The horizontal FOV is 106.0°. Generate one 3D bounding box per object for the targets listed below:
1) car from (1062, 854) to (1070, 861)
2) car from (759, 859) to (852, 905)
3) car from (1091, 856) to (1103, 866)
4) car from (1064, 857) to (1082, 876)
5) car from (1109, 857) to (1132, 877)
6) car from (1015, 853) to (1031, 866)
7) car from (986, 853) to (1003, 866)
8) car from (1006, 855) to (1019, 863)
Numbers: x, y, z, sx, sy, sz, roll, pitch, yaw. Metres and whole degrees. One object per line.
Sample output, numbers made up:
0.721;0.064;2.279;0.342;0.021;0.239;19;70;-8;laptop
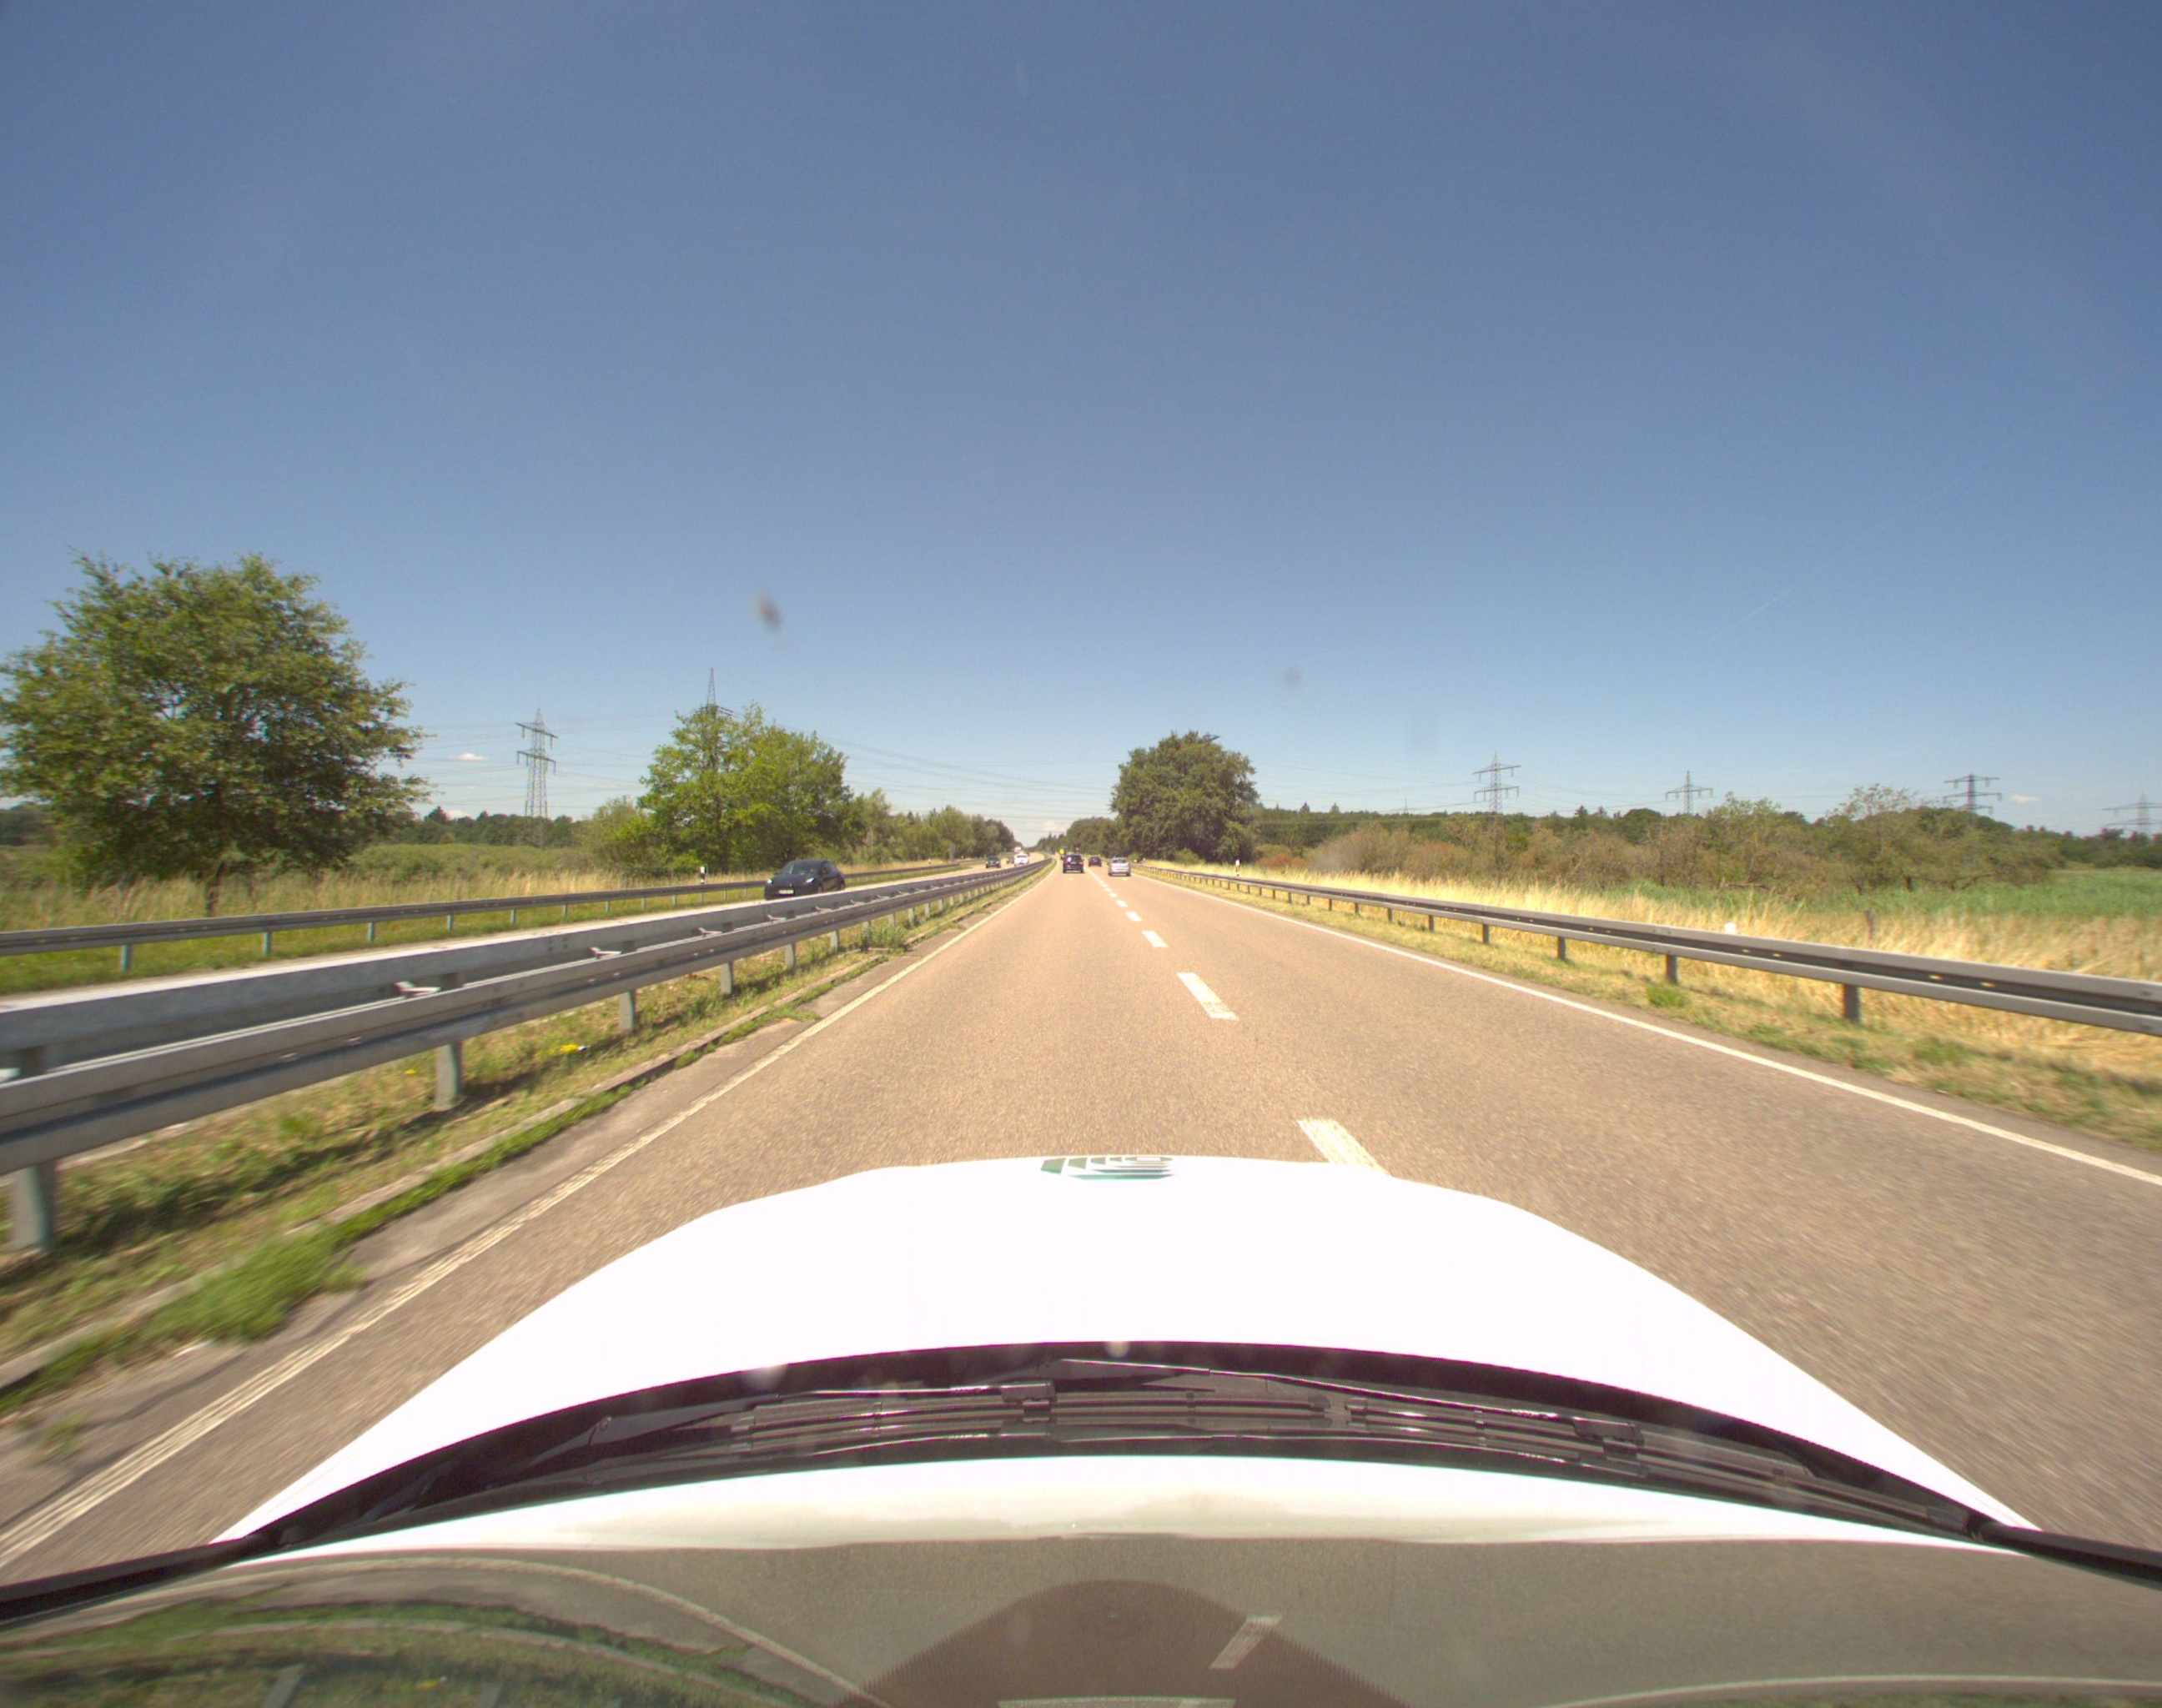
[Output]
-3.564;0.800;193.006;1.709;1.471;3.569;2;0;-4;car
-10.470;1.018;31.426;1.988;1.608;4.959;-1;0;-1;car
2.194;0.912;112.482;1.635;1.342;3.573;2;0;-1;car
-0.736;1.123;75.834;1.635;1.654;3.573;2;0;0;car
3.125;1.042;65.412;1.635;1.468;3.418;2;0;-1;car
-8.431;0.817;118.300;1.974;1.807;4.966;0;0;-1;car
-11.468;0.746;108.582;1.837;1.618;4.169;0;0;-1;car
-12.750;0.963;152.031;1.918;1.385;4.657;-1;0;0;car
